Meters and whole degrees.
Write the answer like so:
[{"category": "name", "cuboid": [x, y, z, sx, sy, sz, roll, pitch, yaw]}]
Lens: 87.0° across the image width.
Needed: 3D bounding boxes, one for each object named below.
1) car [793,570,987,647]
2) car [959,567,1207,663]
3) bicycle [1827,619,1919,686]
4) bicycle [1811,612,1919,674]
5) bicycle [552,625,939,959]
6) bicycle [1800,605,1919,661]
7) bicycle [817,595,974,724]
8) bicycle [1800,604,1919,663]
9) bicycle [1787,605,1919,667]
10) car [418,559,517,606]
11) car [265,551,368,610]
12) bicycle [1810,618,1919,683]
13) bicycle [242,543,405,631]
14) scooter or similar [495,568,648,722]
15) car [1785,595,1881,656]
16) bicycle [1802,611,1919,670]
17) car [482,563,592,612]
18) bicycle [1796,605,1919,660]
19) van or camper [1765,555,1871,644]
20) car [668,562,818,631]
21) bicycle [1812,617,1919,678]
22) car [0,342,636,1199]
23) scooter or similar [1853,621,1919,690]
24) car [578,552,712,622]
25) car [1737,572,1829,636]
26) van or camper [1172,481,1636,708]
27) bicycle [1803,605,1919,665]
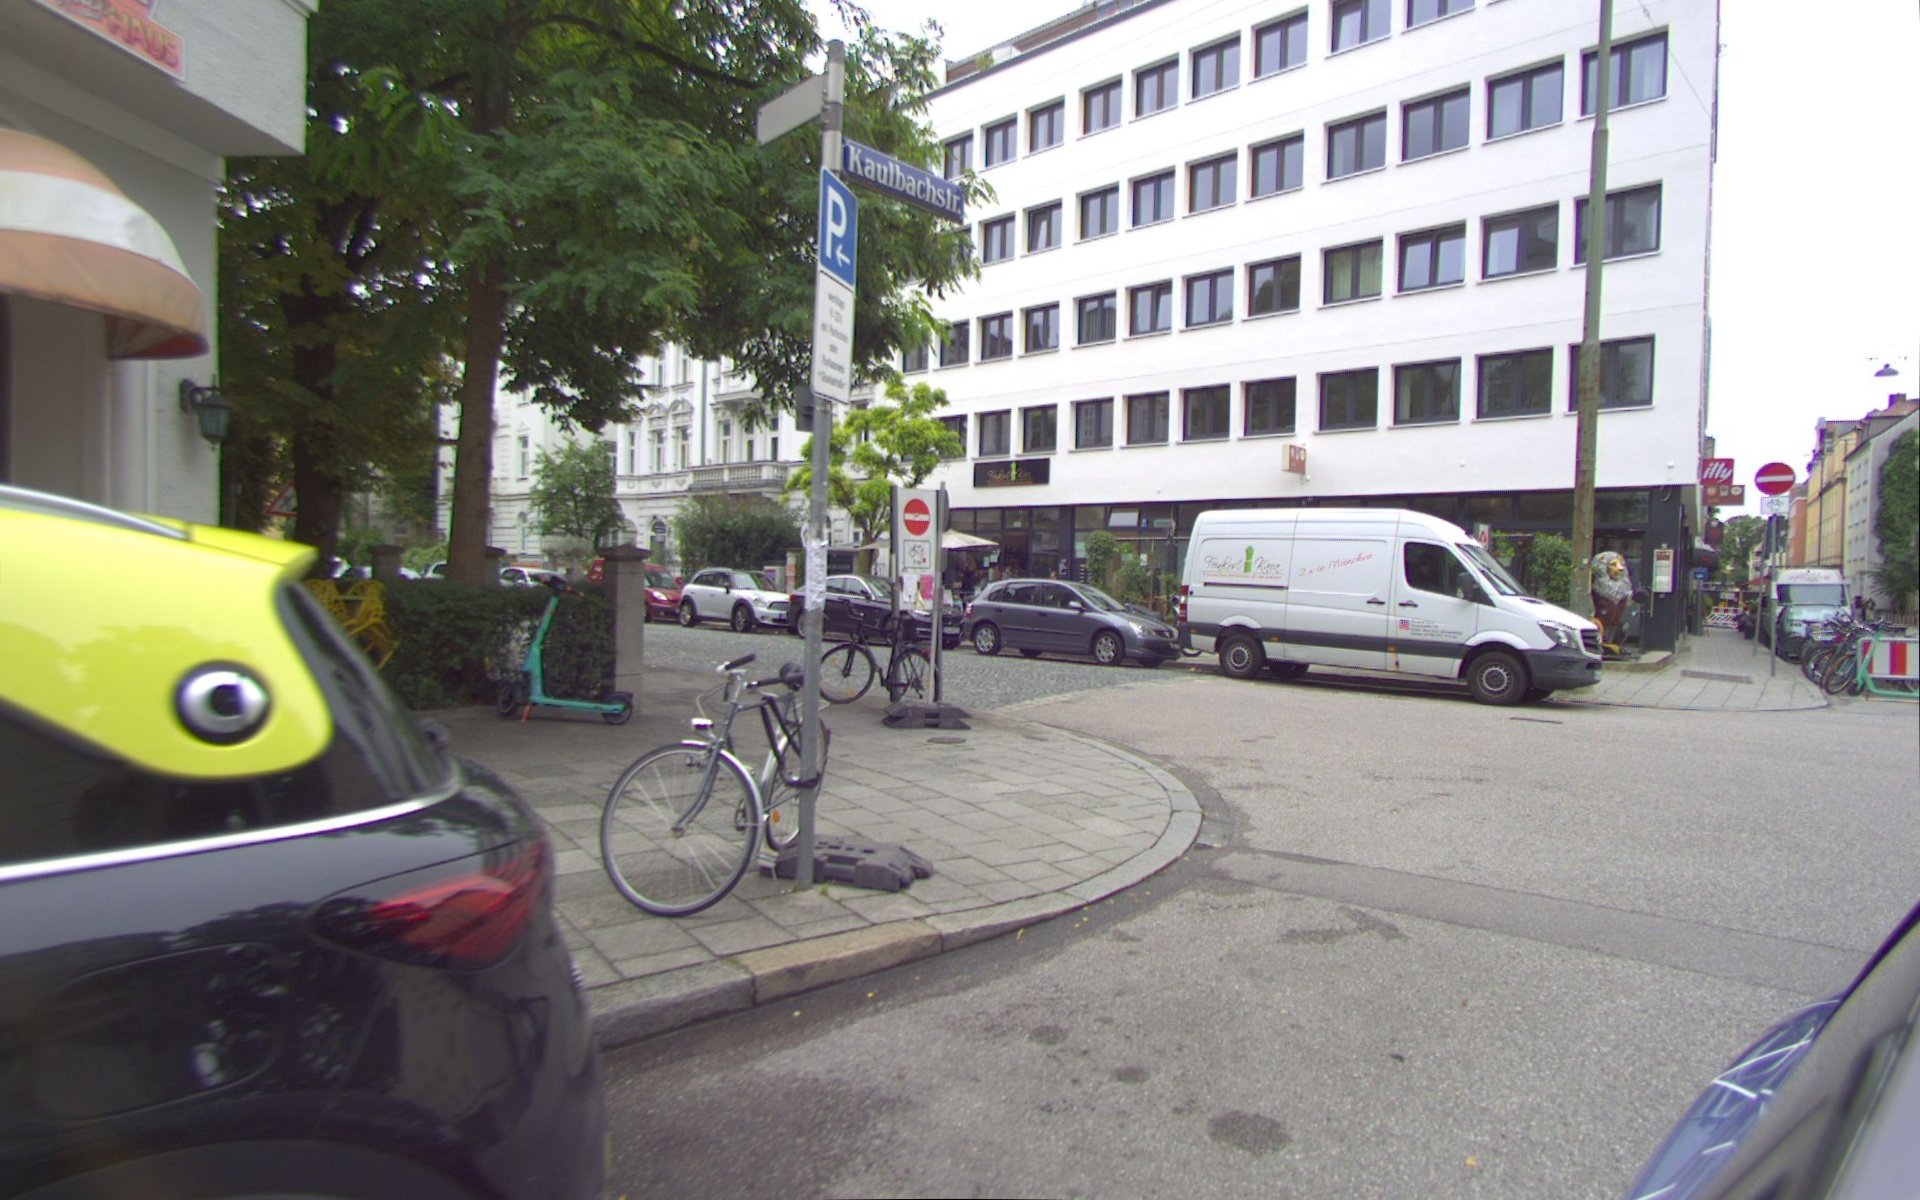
[{"category": "car", "cuboid": [-1.584, 0.157, 21.883, 4.157, 1.408, 1.766, 3, -2, 43]}, {"category": "car", "cuboid": [2.185, 0.250, 18.582, 4.126, 1.505, 1.866, 3, -1, 40]}, {"category": "bicycle", "cuboid": [15.349, 0.859, 16.346, 1.985, 0.976, 0.960, 3, 2, 39]}, {"category": "bicycle", "cuboid": [17.424, 0.807, 19.044, 2.096, 1.045, 0.961, 3, 2, 39]}, {"category": "bicycle", "cuboid": [-0.864, 0.718, 4.609, 0.811, 1.077, 1.731, 5, 3, 25]}, {"category": "bicycle", "cuboid": [20.828, 0.748, 23.336, 2.195, 1.159, 0.686, 3, 2, 39]}, {"category": "bicycle", "cuboid": [-0.716, 0.552, 10.465, 0.673, 1.144, 2.012, 1, 2, -34]}, {"category": "bicycle", "cuboid": [19.910, 0.719, 22.248, 2.171, 1.159, 0.665, 3, 2, 39]}, {"category": "bicycle", "cuboid": [18.757, 0.725, 21.193, 2.198, 1.159, 0.729, 3, 2, 39]}, {"category": "car", "cuboid": [-18.275, -0.676, 37.480, 3.983, 1.538, 1.807, 2, -1, 41]}, {"category": "car", "cuboid": [-19.128, -0.607, 30.020, 3.986, 1.638, 1.611, 3, 2, 43]}, {"category": "bicycle", "cuboid": [15.999, 0.865, 17.329, 2.168, 0.988, 0.961, 3, 2, 39]}, {"category": "bicycle", "cuboid": [-10.549, -0.259, 16.685, 3.755, 1.326, 0.953, 2, 2, 36]}, {"category": "scooter or similar", "cuboid": [-3.327, 0.378, 8.729, 1.156, 1.286, 0.401, 1, 1, -9]}, {"category": "car", "cuboid": [22.634, 0.596, 26.353, 1.751, 1.412, 3.943, 2, 2, 39]}, {"category": "bicycle", "cuboid": [18.070, 0.787, 20.001, 2.143, 1.045, 0.961, 3, 2, 39]}, {"category": "car", "cuboid": [-13.993, -0.417, 33.405, 3.983, 1.427, 1.710, 2, -1, 41]}, {"category": "bicycle", "cuboid": [21.170, 0.750, 23.871, 2.197, 1.159, 0.630, 3, 2, 39]}, {"category": "van or camper", "cuboid": [26.850, -0.071, 31.847, 1.955, 2.540, 5.651, 2, 2, 35]}, {"category": "car", "cuboid": [-5.522, -0.117, 25.535, 3.988, 1.557, 1.740, 3, 0, 44]}, {"category": "bicycle", "cuboid": [16.763, 0.847, 18.178, 2.165, 0.976, 0.961, 3, 2, 39]}, {"category": "car", "cuboid": [-2.578, 0.570, 0.853, 4.020, 1.639, 1.840, 0, -1, -39]}, {"category": "scooter or similar", "cuboid": [14.581, 0.857, 15.525, 1.277, 0.988, 0.492, 2, 1, 40]}, {"category": "car", "cuboid": [-9.144, -0.388, 29.270, 3.772, 1.805, 1.753, 2, -1, 37]}, {"category": "car", "cuboid": [29.942, 0.097, 36.934, 1.984, 2.160, 3.956, 2, 2, 31]}, {"category": "van or camper", "cuboid": [6.357, -0.125, 15.096, 5.852, 2.748, 2.268, 3, -1, 44]}, {"category": "bicycle", "cuboid": [19.414, 0.738, 21.674, 2.026, 1.159, 0.659, 2, 2, 39]}]
